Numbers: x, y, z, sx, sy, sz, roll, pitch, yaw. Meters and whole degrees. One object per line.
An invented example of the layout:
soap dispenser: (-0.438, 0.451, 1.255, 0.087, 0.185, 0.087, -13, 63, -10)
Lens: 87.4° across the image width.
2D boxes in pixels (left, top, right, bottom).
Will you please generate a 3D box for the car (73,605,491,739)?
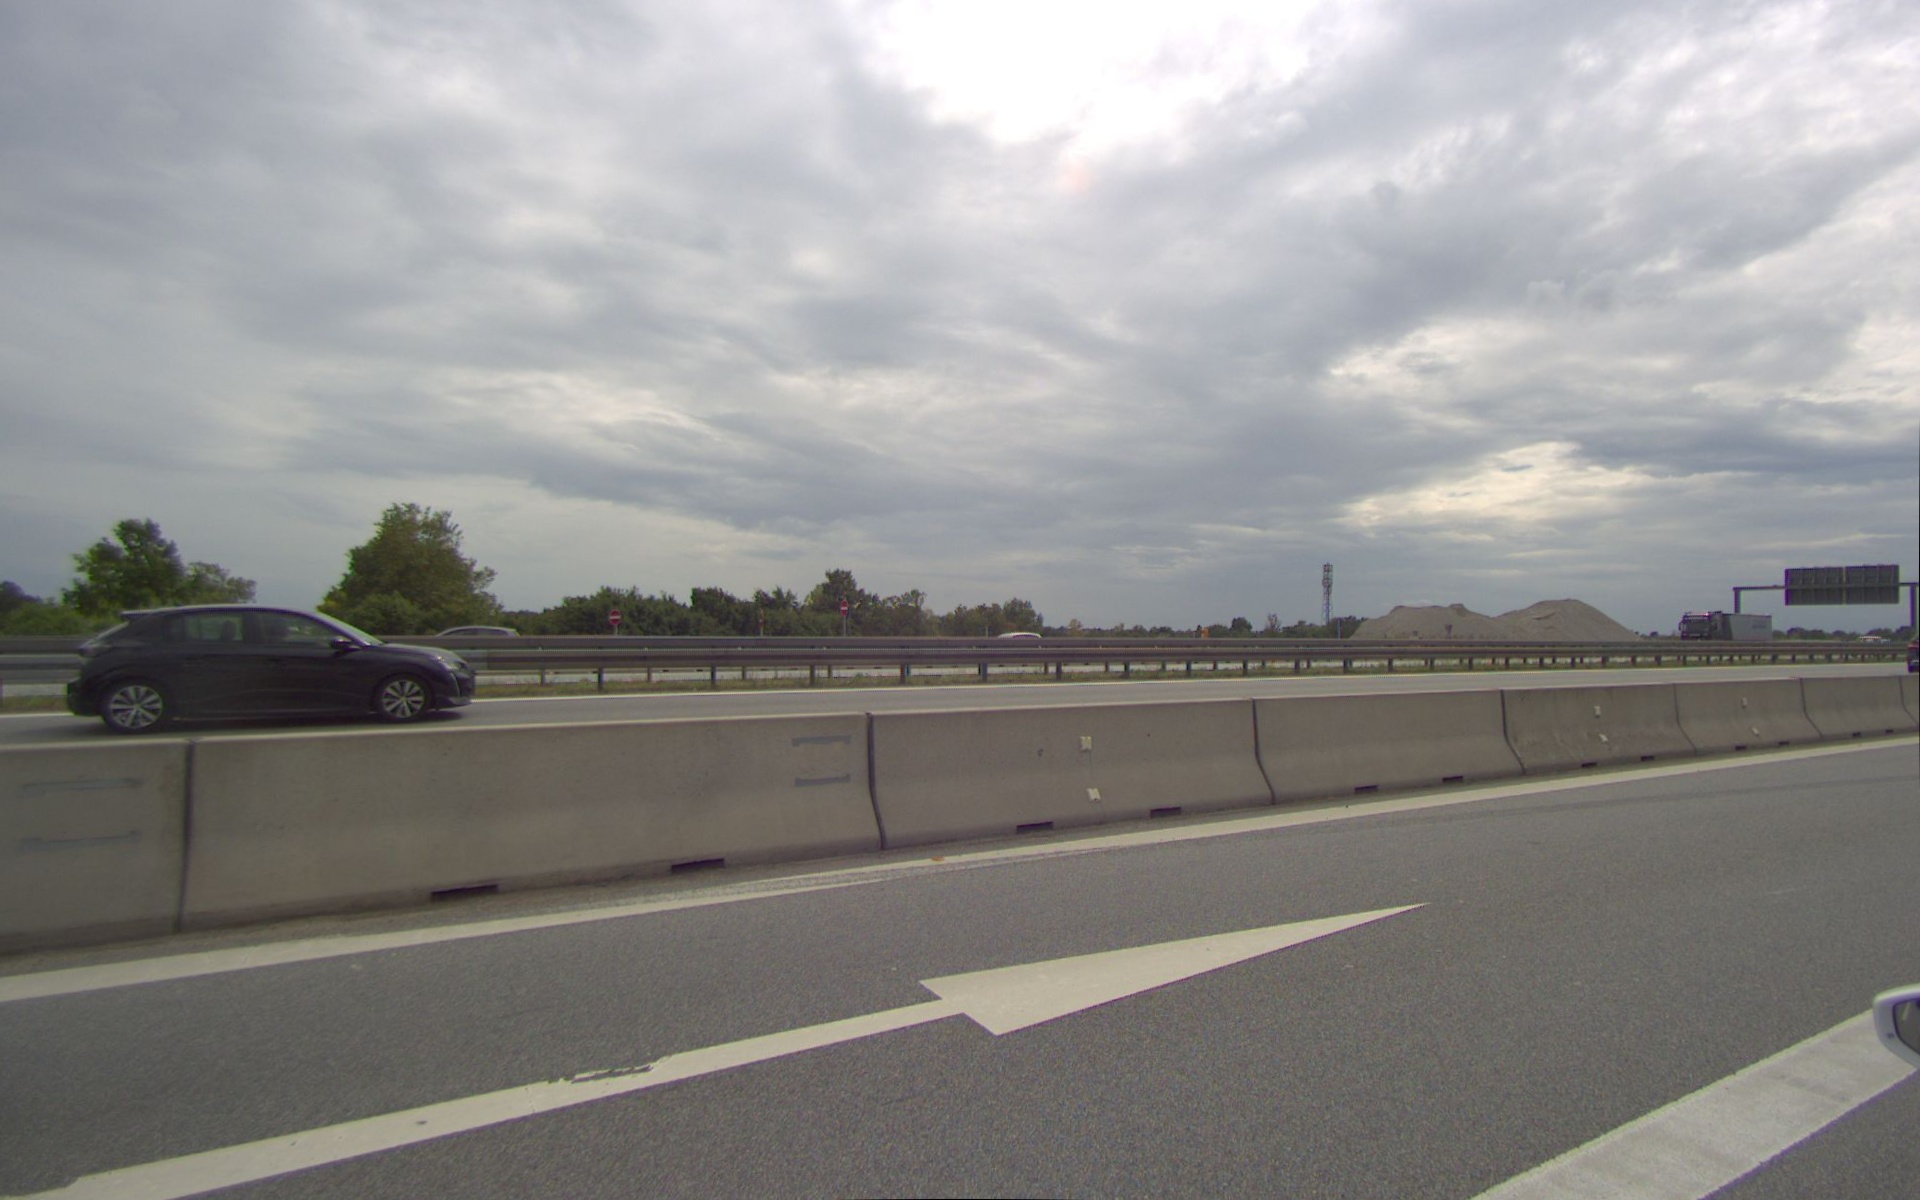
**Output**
car: (-7.968, 0.801, 12.211, 3.955, 1.394, 1.545, 1, 0, -31)

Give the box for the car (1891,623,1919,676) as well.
car: (33.538, 1.678, 33.794, 4.809, 1.706, 1.984, 1, -1, -30)

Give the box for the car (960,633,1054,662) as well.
car: (2.119, 2.104, 44.942, 3.961, 1.208, 1.677, 2, -1, -33)

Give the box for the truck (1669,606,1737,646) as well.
truck: (66.563, 2.328, 89.932, 5.562, 3.374, 3.132, 1, -1, -33)

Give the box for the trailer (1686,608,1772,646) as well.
trailer: (71.238, 2.542, 92.963, 9.717, 3.313, 3.179, 1, -1, -33)

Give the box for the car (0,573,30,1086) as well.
car: (-4.146, 0.640, 1.447, 3.796, 1.528, 1.693, 1, -1, -31)
